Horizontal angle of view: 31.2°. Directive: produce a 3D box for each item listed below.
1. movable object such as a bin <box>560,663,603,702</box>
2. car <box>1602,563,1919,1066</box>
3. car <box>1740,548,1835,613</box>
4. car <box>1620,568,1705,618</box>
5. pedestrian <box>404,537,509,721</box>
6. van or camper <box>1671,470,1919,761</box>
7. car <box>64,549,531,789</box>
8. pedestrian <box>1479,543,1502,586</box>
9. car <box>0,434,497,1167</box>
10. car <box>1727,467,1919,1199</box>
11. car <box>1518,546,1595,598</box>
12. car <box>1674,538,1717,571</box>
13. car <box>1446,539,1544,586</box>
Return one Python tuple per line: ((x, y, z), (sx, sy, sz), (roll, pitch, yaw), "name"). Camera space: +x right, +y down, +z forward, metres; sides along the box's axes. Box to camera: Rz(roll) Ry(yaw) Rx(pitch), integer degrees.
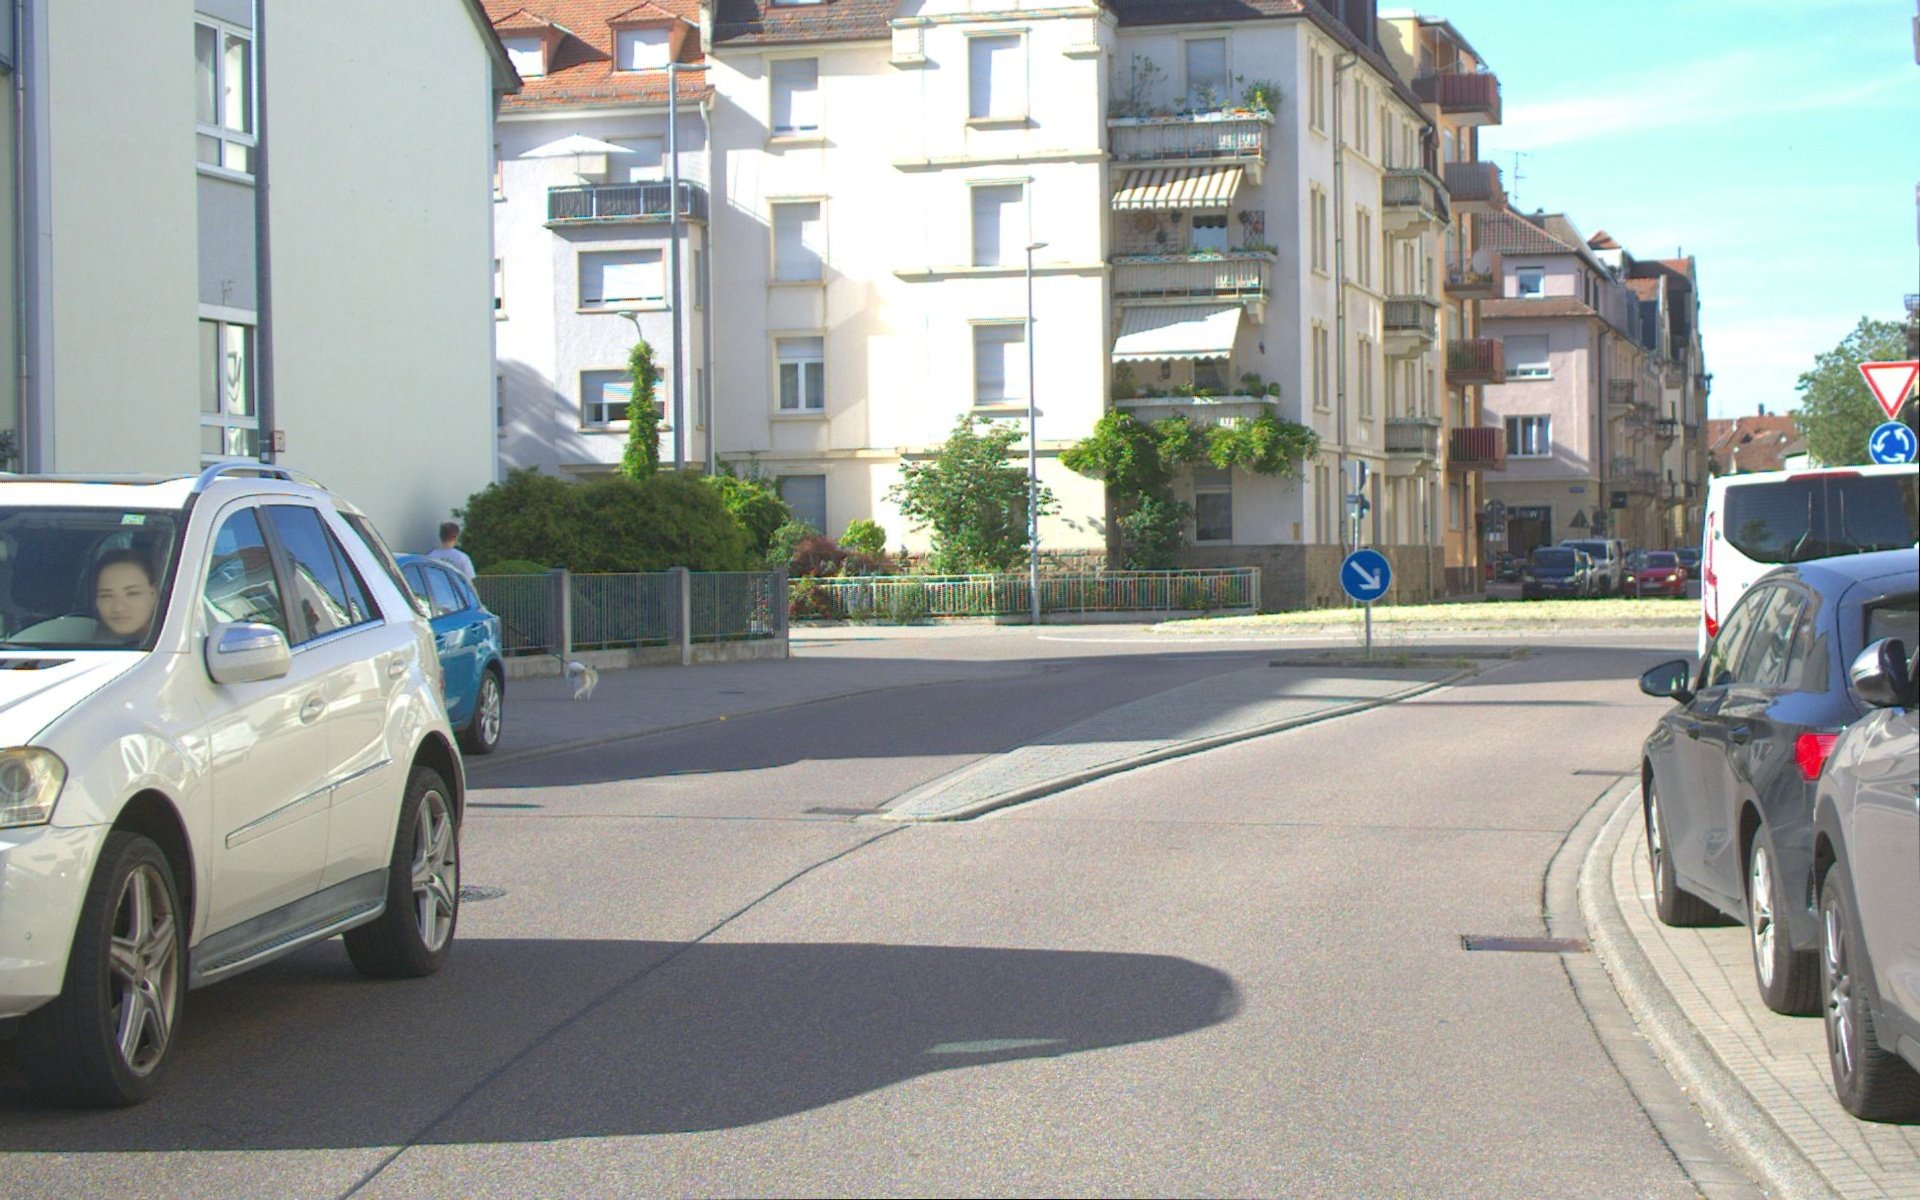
((-3.626, 0.788, 32.938), (0.220, 0.347, 0.520), (0, 1, 17), "movable object such as a bin")
((3.403, 0.600, 12.232), (1.717, 1.404, 4.314), (-3, 1, 5), "car")
((24.006, -0.591, 99.613), (2.433, 1.805, 4.720), (-1, 1, 16), "car")
((20.992, -0.185, 102.674), (1.743, 1.350, 3.665), (-1, -2, 24), "car")
((-4.719, 0.284, 32.243), (0.683, 1.698, 0.823), (-1, -2, 16), "pedestrian")
((6.652, 0.070, 25.848), (2.022, 1.940, 4.699), (-3, 0, 17), "van or camper")
((-4.420, 0.394, 23.641), (1.798, 1.468, 4.329), (1, 1, 9), "car")
((21.451, -1.436, 138.931), (0.800, 1.744, 0.844), (0, 1, 17), "pedestrian")
((-2.979, 0.474, 10.701), (1.990, 1.779, 4.518), (-1, 1, 6), "car")
((2.922, 0.558, 7.490), (1.817, 1.648, 4.558), (-1, -2, 5), "car")
((17.781, -0.850, 102.333), (1.995, 1.527, 3.998), (0, 1, 14), "car")
((37.036, -2.281, 173.127), (1.994, 1.623, 3.998), (0, 1, 11), "car")
((23.193, -1.626, 149.048), (3.905, 2.007, 1.761), (0, 1, 23), "car")
